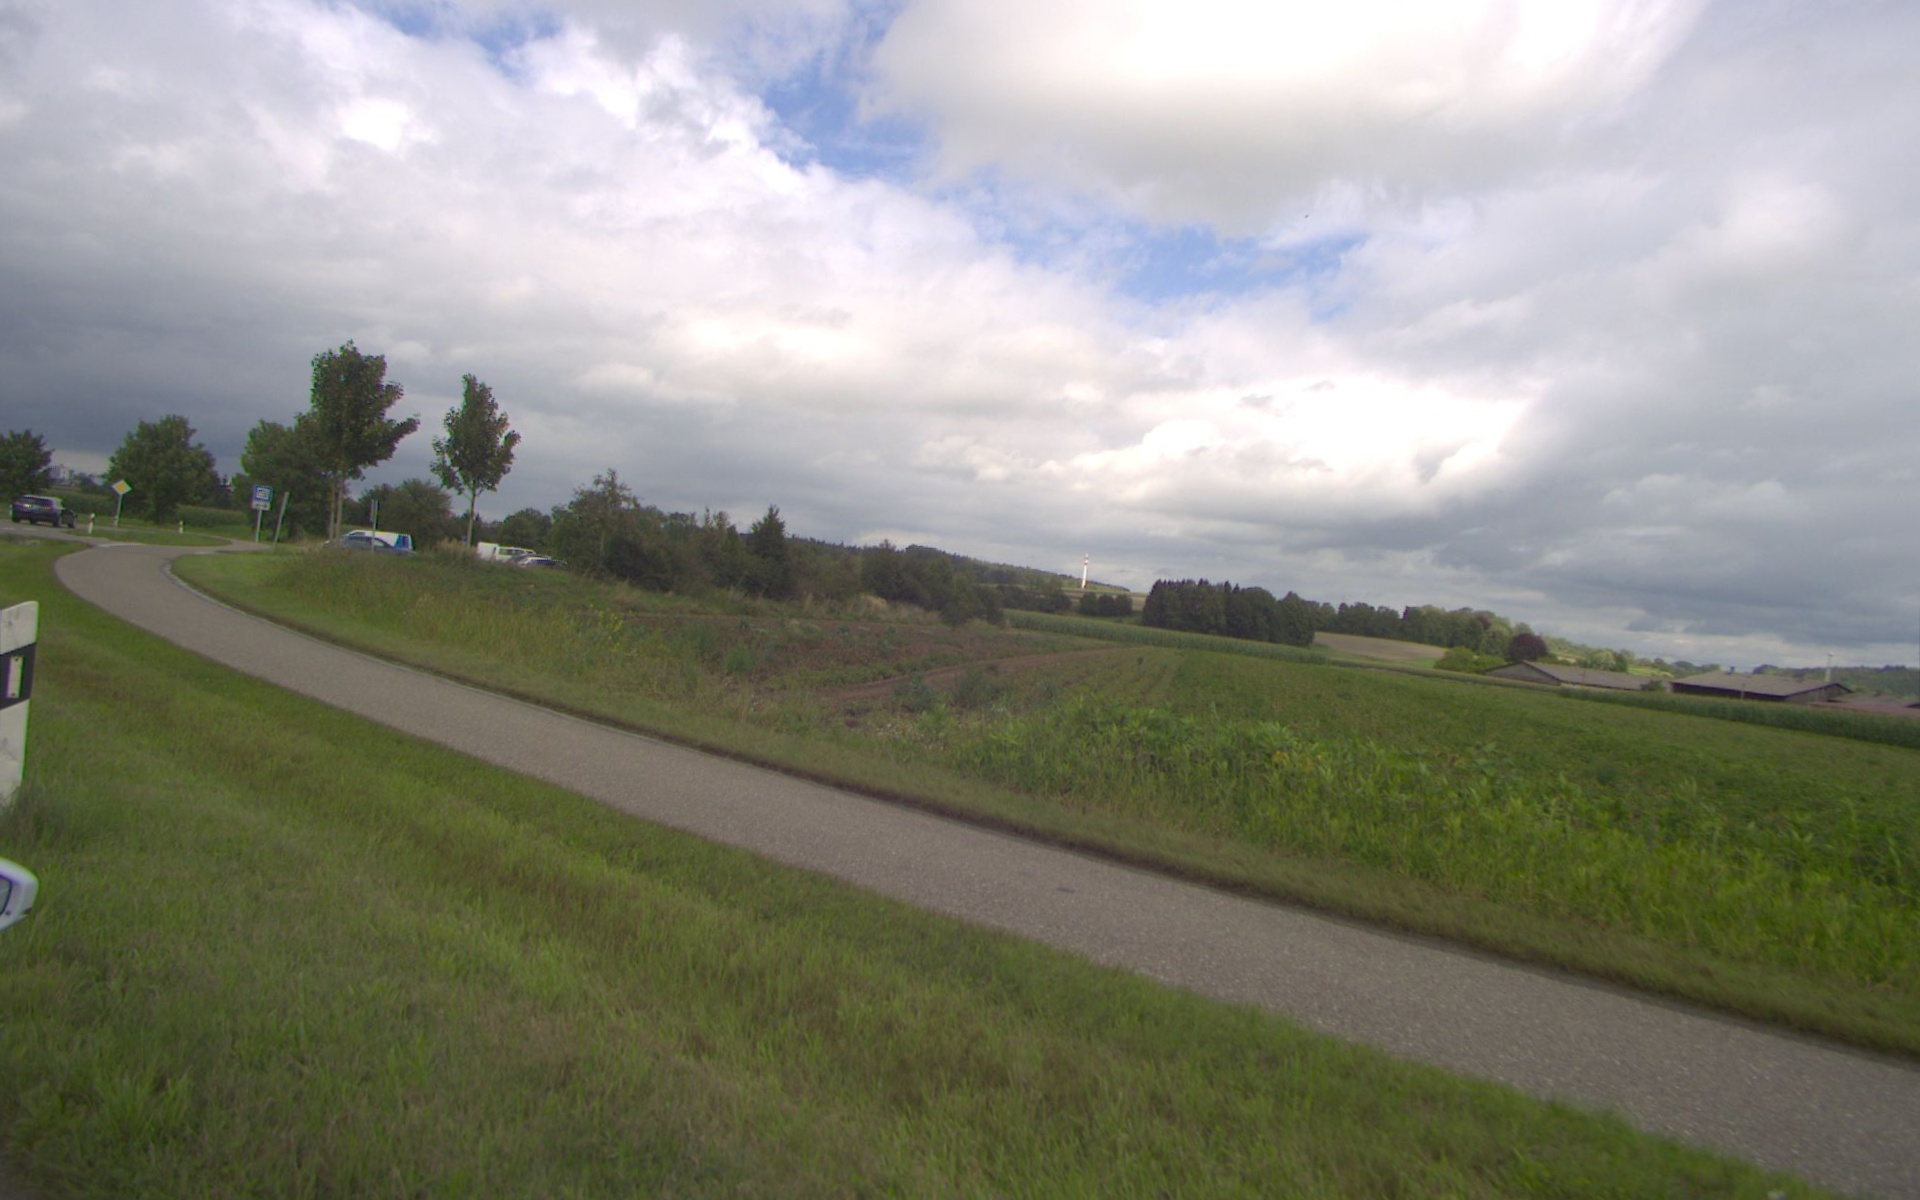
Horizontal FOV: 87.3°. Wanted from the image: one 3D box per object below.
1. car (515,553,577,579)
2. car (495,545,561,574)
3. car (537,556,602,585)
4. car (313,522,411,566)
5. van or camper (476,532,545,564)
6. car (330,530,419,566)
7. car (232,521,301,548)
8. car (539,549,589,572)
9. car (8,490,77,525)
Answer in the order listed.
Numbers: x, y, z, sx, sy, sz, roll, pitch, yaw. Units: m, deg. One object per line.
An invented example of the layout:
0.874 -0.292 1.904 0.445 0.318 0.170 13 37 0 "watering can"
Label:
-29.351 -2.408 71.421 3.668 1.408 1.742 7 0 -37 "car"
-38.205 -3.607 89.025 4.989 2.026 2.212 5 1 -33 "car"
-25.833 -1.963 66.557 3.662 1.408 1.715 7 0 -32 "car"
-36.388 -3.392 61.315 4.911 1.998 1.938 7 0 -32 "car"
-49.370 -5.642 110.574 6.687 2.593 2.034 7 0 -29 "van or camper"
-33.368 -2.964 57.386 4.240 1.586 1.822 5 1 -32 "car"
-54.951 -5.181 79.824 4.298 1.595 1.954 6 1 -33 "car"
-37.766 -3.751 95.968 3.968 1.615 1.979 7 0 -39 "car"
-47.021 -4.699 51.652 1.829 1.434 3.966 7 0 -32 "car"
